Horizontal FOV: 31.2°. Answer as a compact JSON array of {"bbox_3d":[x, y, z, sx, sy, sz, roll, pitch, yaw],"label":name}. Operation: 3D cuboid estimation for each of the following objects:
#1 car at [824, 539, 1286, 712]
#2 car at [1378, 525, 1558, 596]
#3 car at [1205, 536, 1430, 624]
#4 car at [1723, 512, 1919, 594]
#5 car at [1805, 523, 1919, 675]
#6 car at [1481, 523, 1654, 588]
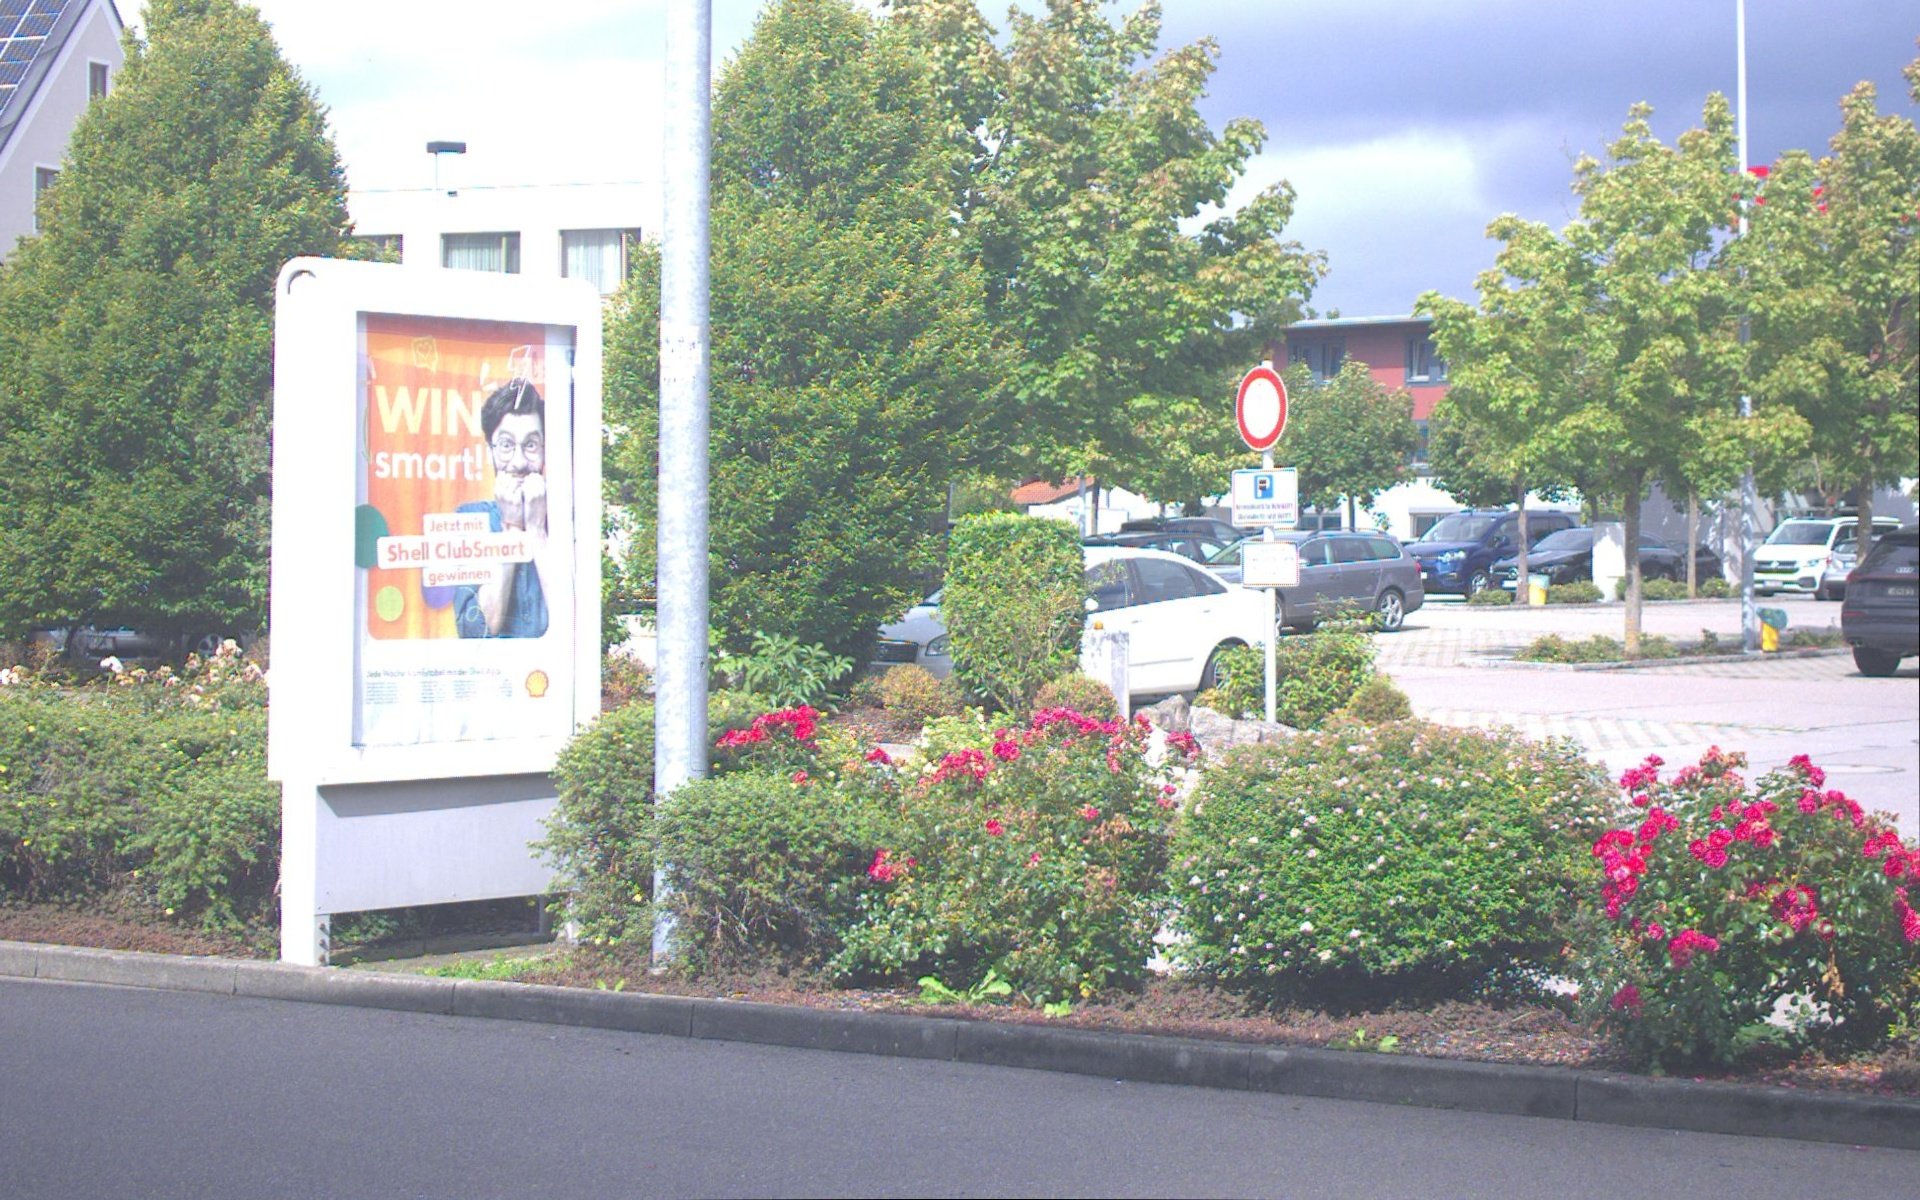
[{"bbox_3d":[0.894,0.203,29.932,4.332,1.399,1.370,0,1,-44],"label":"car"},{"bbox_3d":[9.875,-0.759,66.789,3.379,1.316,1.747,0,1,-44],"label":"car"},{"bbox_3d":[5.191,-0.291,49.721,3.218,1.224,1.505,0,1,-44],"label":"car"},{"bbox_3d":[20.235,-1.088,80.647,4.864,1.827,2.184,0,1,-43],"label":"car"},{"bbox_3d":[11.123,-0.008,36.735,4.491,1.543,1.885,0,1,-43],"label":"car"},{"bbox_3d":[11.503,-0.841,65.041,3.409,1.174,1.485,0,1,-44],"label":"car"}]
